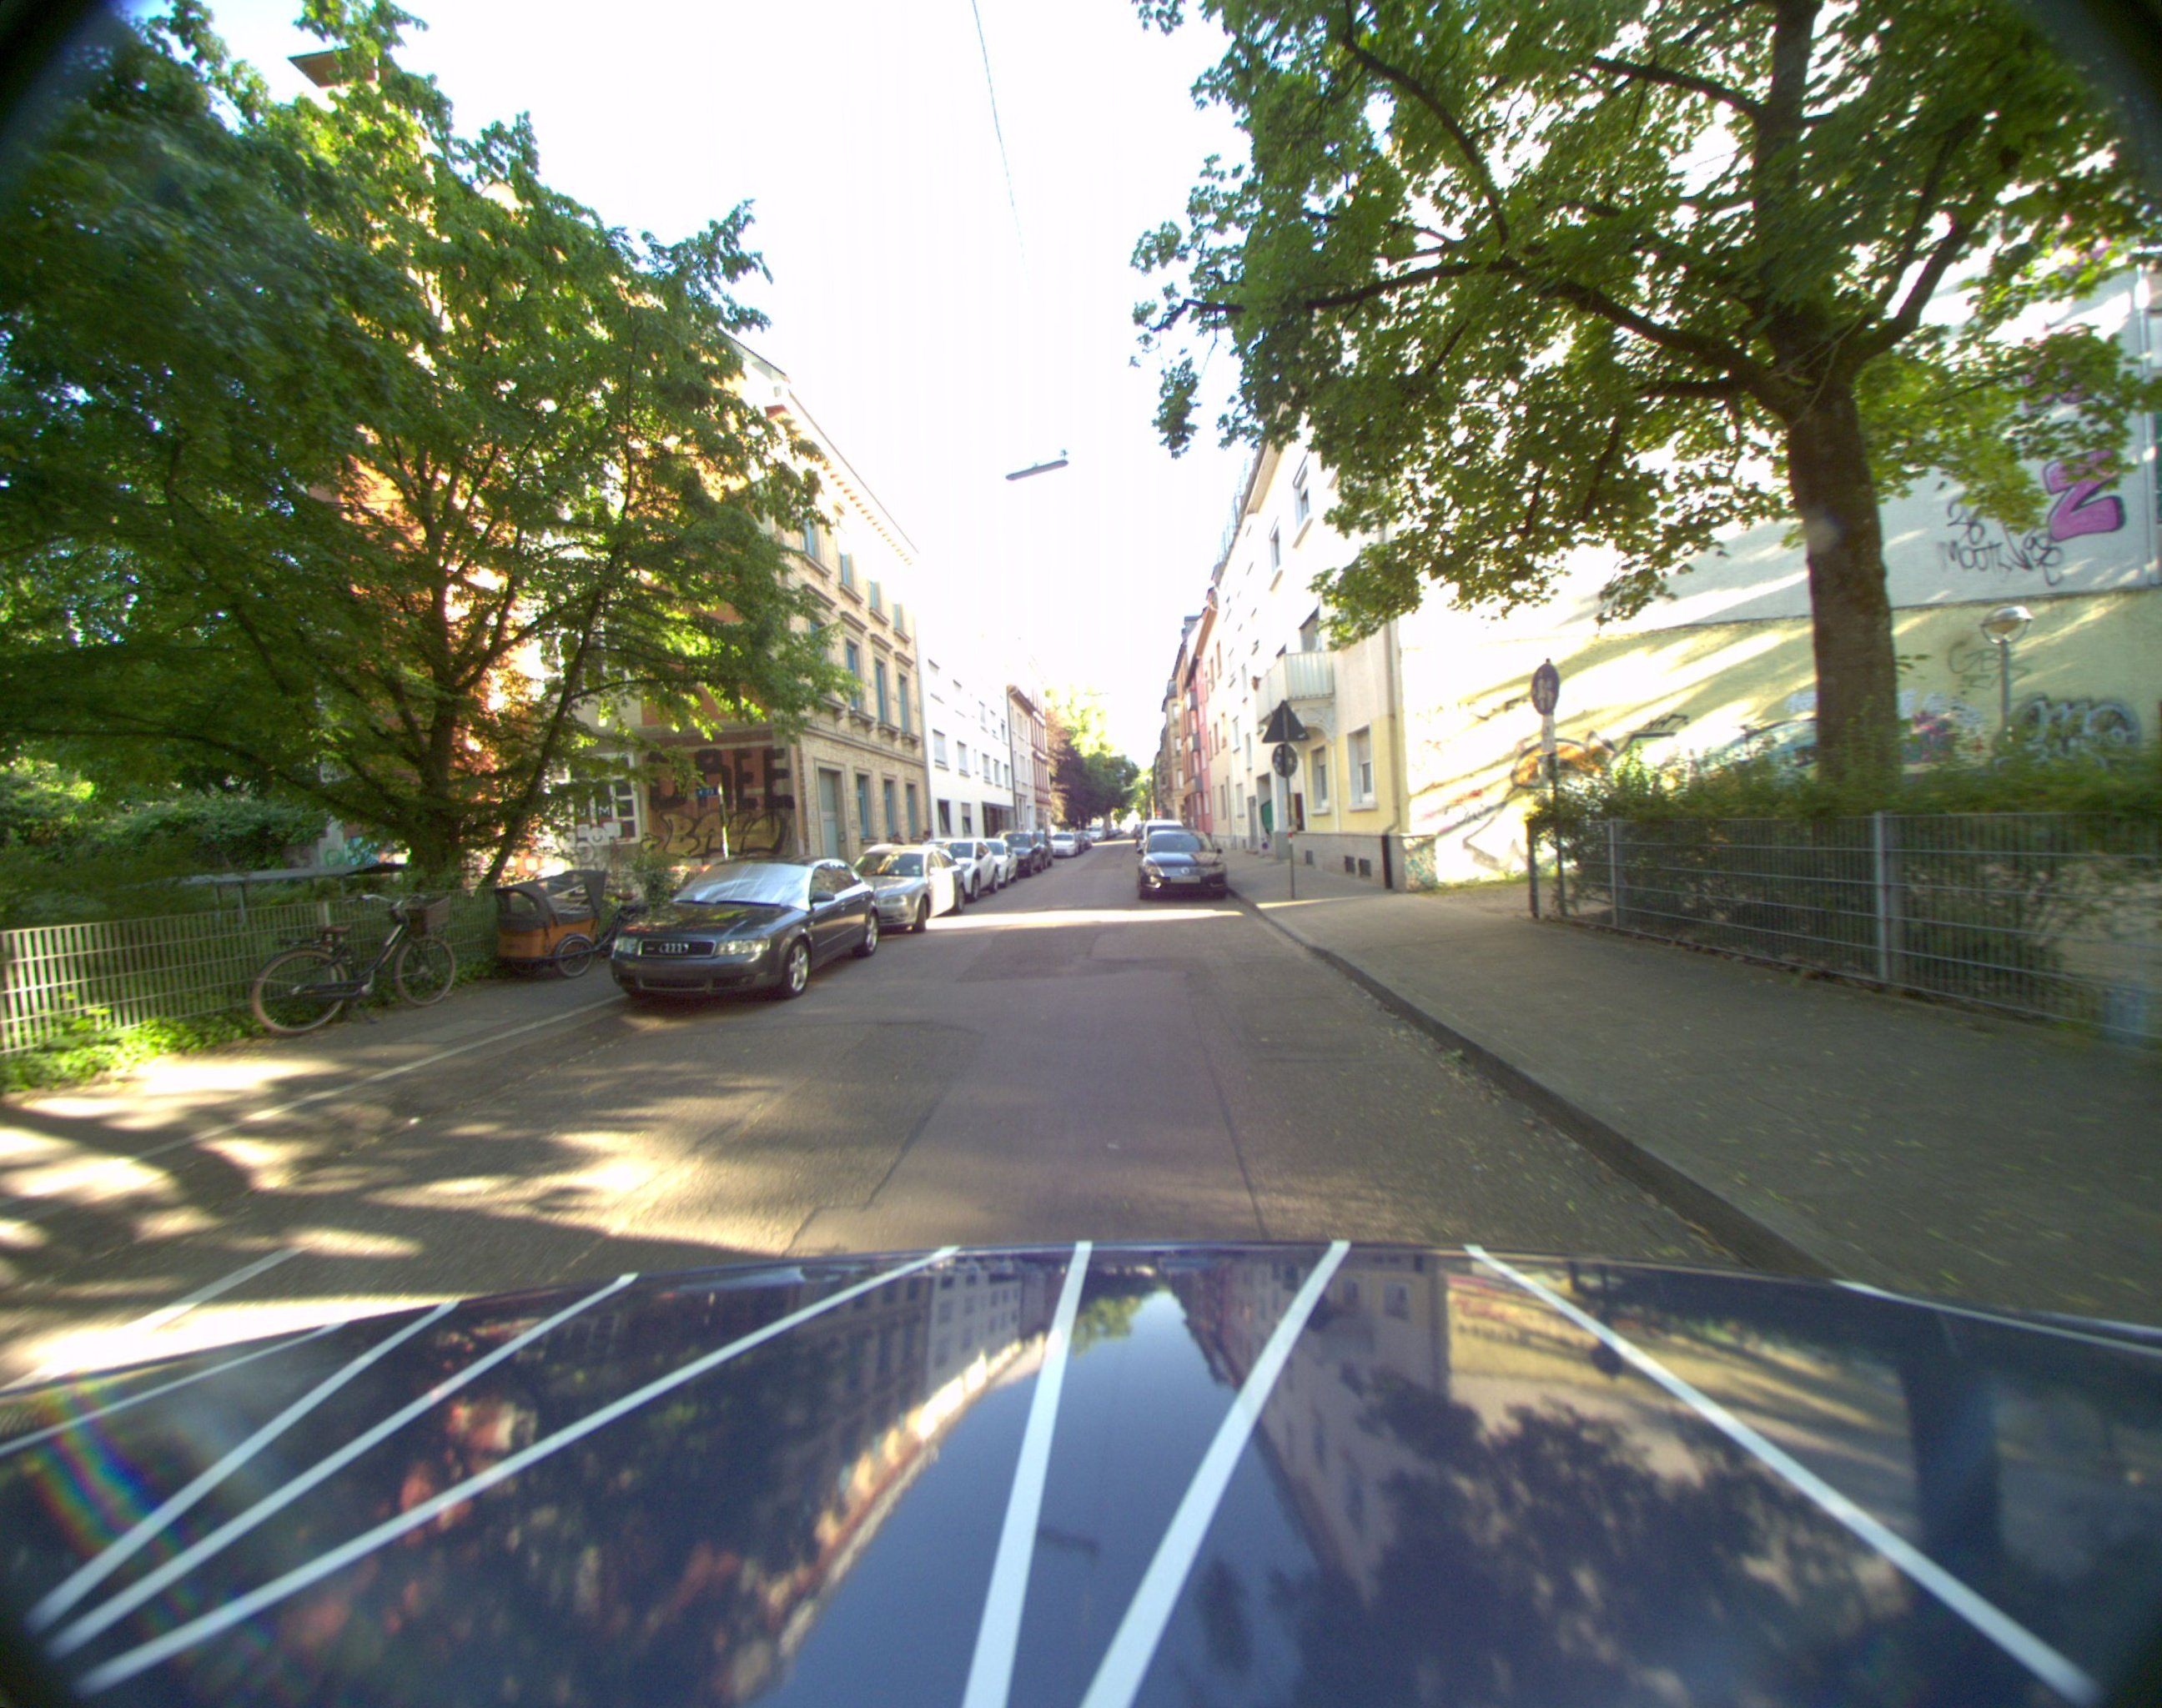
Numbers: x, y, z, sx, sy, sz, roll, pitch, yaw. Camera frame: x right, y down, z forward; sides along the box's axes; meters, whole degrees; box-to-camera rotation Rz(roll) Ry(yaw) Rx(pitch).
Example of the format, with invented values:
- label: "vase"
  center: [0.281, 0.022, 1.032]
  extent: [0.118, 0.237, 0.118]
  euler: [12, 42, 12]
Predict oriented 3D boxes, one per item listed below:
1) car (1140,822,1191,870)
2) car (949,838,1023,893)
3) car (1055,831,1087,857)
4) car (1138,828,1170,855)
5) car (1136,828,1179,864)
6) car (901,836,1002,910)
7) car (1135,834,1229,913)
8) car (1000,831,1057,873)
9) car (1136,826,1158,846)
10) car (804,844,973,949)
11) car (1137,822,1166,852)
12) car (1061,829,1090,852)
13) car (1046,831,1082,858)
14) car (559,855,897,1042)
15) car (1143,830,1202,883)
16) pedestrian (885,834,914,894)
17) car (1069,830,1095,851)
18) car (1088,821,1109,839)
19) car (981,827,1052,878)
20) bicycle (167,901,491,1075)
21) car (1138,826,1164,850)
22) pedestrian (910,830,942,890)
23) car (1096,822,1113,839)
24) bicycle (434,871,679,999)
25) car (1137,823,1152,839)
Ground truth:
- label: "car"
  center: [3.281, -0.376, 30.190]
  extent: [1.753, 1.731, 4.314]
  euler: [-1, 2, 3]
- label: "car"
  center: [-2.847, 0.278, 23.545]
  extent: [1.597, 1.443, 4.002]
  euler: [-2, 2, 2]
- label: "car"
  center: [-0.628, -0.708, 50.519]
  extent: [1.768, 1.525, 4.102]
  euler: [-1, 2, 4]
- label: "car"
  center: [4.195, -0.740, 44.204]
  extent: [1.768, 1.464, 3.815]
  euler: [-1, 2, 4]
- label: "car"
  center: [3.583, -0.410, 35.120]
  extent: [1.674, 1.519, 4.086]
  euler: [0, 3, 9]
- label: "car"
  center: [-3.140, 0.392, 19.166]
  extent: [1.597, 1.576, 3.763]
  euler: [-2, 2, 4]
- label: "car"
  center: [2.121, 0.321, 16.919]
  extent: [1.783, 1.435, 4.392]
  euler: [-1, 2, 4]
- label: "car"
  center: [-2.212, -0.145, 33.436]
  extent: [1.885, 1.658, 4.327]
  euler: [-1, 2, 4]
- label: "car"
  center: [5.603, -1.554, 64.705]
  extent: [1.768, 1.525, 4.102]
  euler: [-1, 2, 4]
- label: "car"
  center: [-3.321, 0.646, 14.057]
  extent: [1.662, 1.485, 4.353]
  euler: [-2, 2, 4]
- label: "car"
  center: [4.531, -1.151, 49.530]
  extent: [1.768, 1.815, 4.102]
  euler: [-1, 2, 4]
- label: "car"
  center: [-0.377, -1.012, 54.967]
  extent: [1.768, 1.525, 4.102]
  euler: [-1, 2, 4]
- label: "car"
  center: [-0.952, -0.618, 45.763]
  extent: [1.768, 1.509, 4.102]
  euler: [-1, 2, 4]
- label: "car"
  center: [-3.741, 0.867, 9.105]
  extent: [1.725, 1.485, 4.413]
  euler: [-2, 2, 3]
- label: "car"
  center: [2.722, 0.016, 22.841]
  extent: [1.596, 1.443, 3.485]
  euler: [-1, 2, 6]
- label: "pedestrian"
  center: [-5.264, 0.274, 22.035]
  extent: [0.598, 1.700, 0.706]
  euler: [0, 3, 4]
- label: "car"
  center: [0.135, -1.115, 60.095]
  extent: [1.768, 1.525, 4.102]
  euler: [-1, 2, 4]
- label: "car"
  center: [2.002, -2.769, 87.292]
  extent: [1.865, 1.970, 4.481]
  euler: [0, 3, 8]
- label: "car"
  center: [-2.310, -0.123, 28.262]
  extent: [1.769, 1.657, 4.328]
  euler: [-2, 2, 6]
- label: "bicycle"
  center: [-6.801, 1.146, 7.080]
  extent: [0.848, 1.194, 1.982]
  euler: [-3, 2, 6]
- label: "car"
  center: [4.973, -1.177, 54.470]
  extent: [1.768, 1.525, 4.102]
  euler: [-1, 2, 4]
- label: "pedestrian"
  center: [-4.467, 0.169, 21.889]
  extent: [0.712, 1.700, 0.752]
  euler: [0, 3, 4]
- label: "car"
  center: [2.947, -2.916, 93.843]
  extent: [1.768, 1.846, 4.285]
  euler: [-3, 2, 4]
- label: "bicycle"
  center: [-6.515, 0.941, 9.703]
  extent: [1.293, 1.294, 2.327]
  euler: [-1, 2, 7]
- label: "car"
  center: [7.810, -2.867, 93.498]
  extent: [1.768, 1.847, 3.992]
  euler: [-1, 3, 4]
